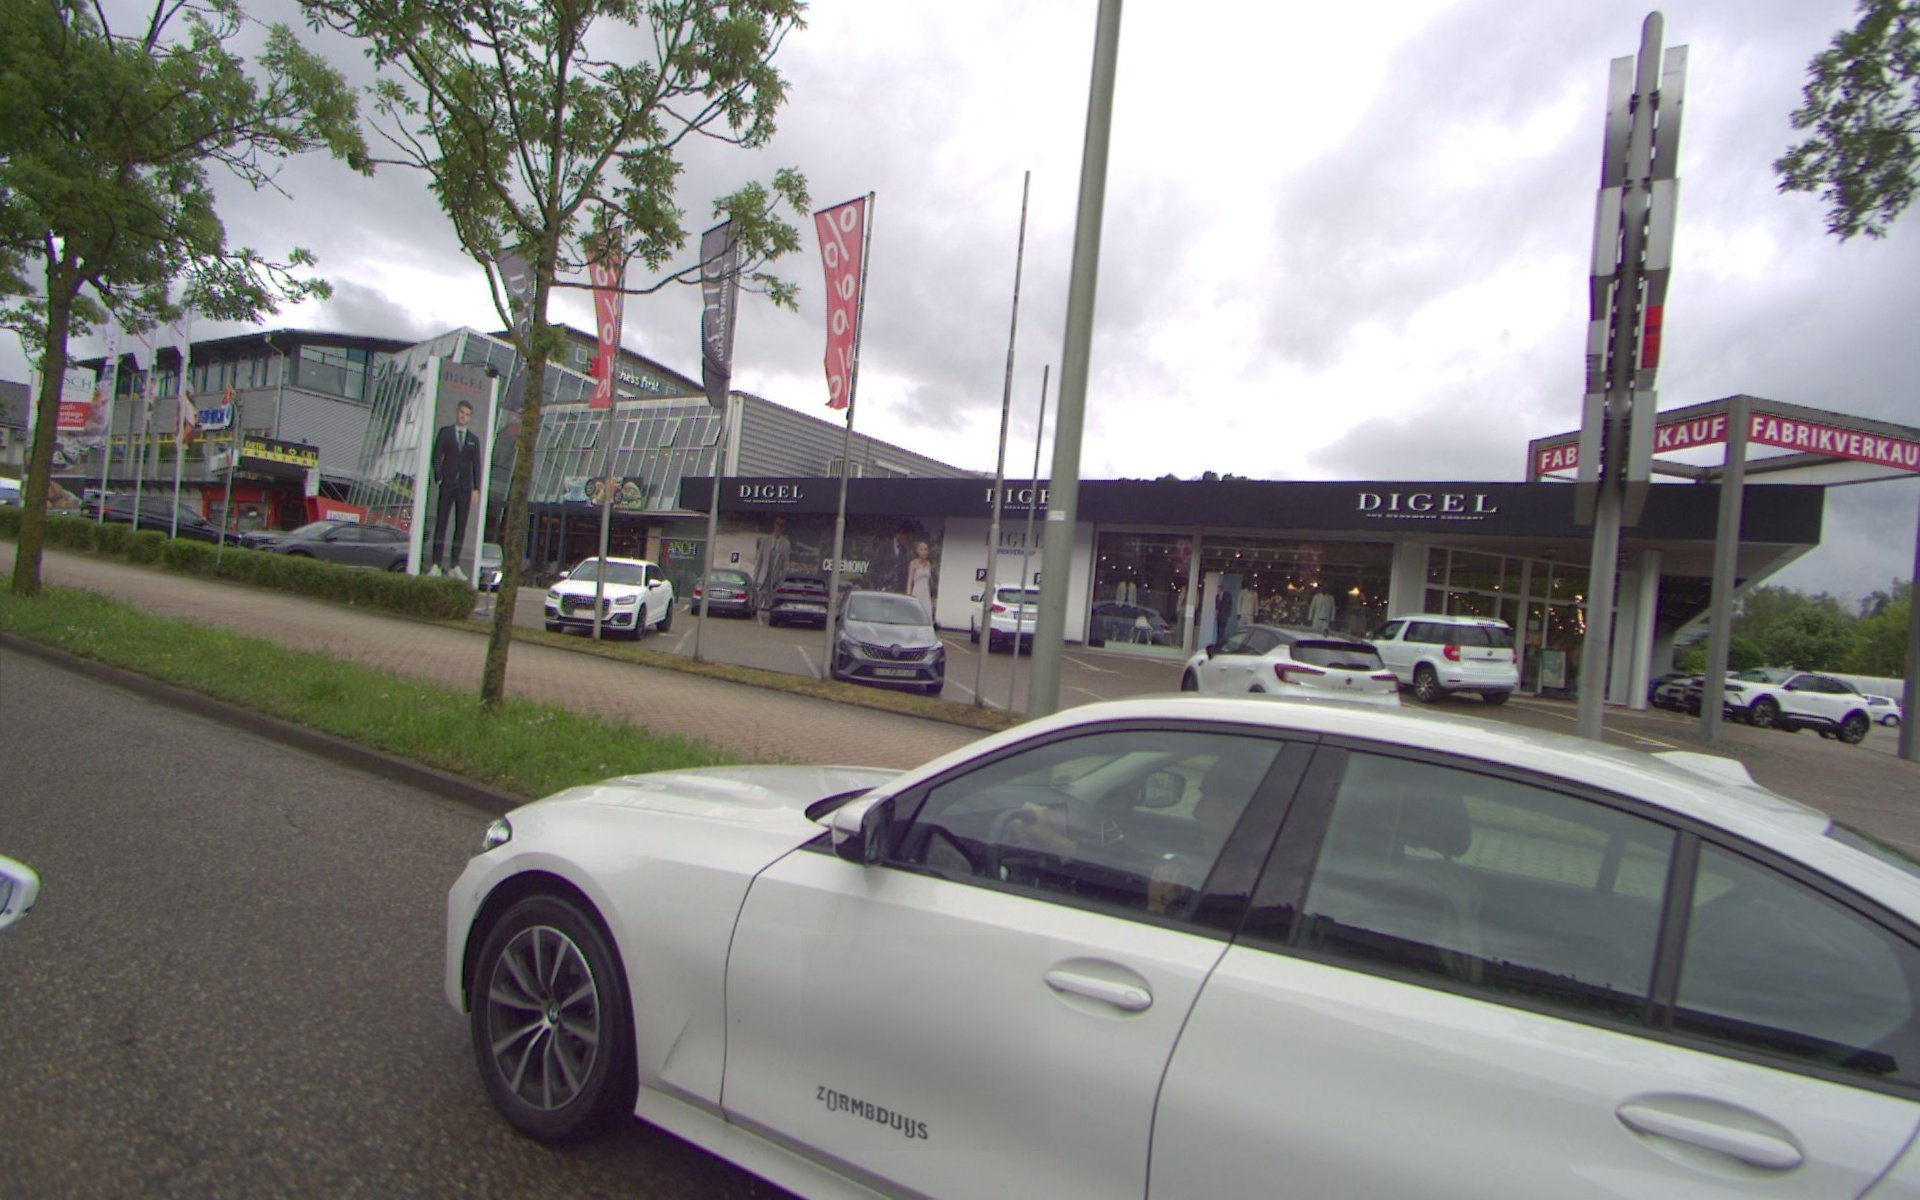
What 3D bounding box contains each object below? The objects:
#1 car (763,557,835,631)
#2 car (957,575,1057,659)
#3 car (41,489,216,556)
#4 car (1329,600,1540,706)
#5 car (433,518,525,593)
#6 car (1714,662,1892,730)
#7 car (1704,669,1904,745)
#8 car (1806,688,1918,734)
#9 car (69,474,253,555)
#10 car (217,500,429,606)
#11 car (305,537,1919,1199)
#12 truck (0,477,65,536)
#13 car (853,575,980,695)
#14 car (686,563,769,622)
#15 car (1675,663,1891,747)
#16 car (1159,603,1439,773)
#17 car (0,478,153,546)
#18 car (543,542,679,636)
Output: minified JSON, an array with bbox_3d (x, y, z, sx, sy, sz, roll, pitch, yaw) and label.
[{"bbox_3d":[-4.523,-0.163,28.801,1.707,1.793,4.149,6,-1,-7],"label":"car"},{"bbox_3d":[1.106,0.405,25.642,1.707,1.793,4.149,6,-1,-7],"label":"car"},{"bbox_3d":[-27.541,-2.554,33.435,1.772,1.554,4.110,7,-1,38],"label":"car"},{"bbox_3d":[9.642,0.994,20.872,1.709,1.793,4.146,6,-1,-11],"label":"car"},{"bbox_3d":[-14.752,-1.323,31.069,1.770,1.965,4.027,7,-1,-17],"label":"car"},{"bbox_3d":[25.357,2.882,30.322,4.082,1.499,1.735,6,0,-9],"label":"car"},{"bbox_3d":[23.255,2.932,27.790,4.079,1.499,1.737,6,0,-5],"label":"car"},{"bbox_3d":[47.142,5.778,52.706,3.936,1.816,1.995,6,0,34],"label":"car"},{"bbox_3d":[-25.076,-2.651,31.721,1.770,1.928,4.113,7,0,33],"label":"car"},{"bbox_3d":[-16.315,-1.156,25.981,1.770,2.131,4.115,7,-1,33],"label":"car"},{"bbox_3d":[0.412,0.862,2.813,4.542,1.562,1.805,6,-3,31],"label":"car"},{"bbox_3d":[-46.118,-4.573,48.755,5.368,2.374,2.447,5,-3,31],"label":"truck"},{"bbox_3d":[-0.807,0.508,16.128,1.615,1.555,3.595,6,-1,-7],"label":"car"},{"bbox_3d":[-7.064,-0.237,30.931,1.799,1.487,4.151,6,0,-5],"label":"car"},{"bbox_3d":[20.219,2.571,24.783,4.082,1.499,1.735,6,0,-9],"label":"car"},{"bbox_3d":[4.411,1.057,13.858,1.948,1.684,4.019,6,1,-7],"label":"car"},{"bbox_3d":[-31.336,-3.083,35.463,1.772,1.724,4.110,7,-1,38],"label":"car"},{"bbox_3d":[-6.979,-0.225,20.476,1.765,1.555,3.594,6,0,-7],"label":"car"}]
